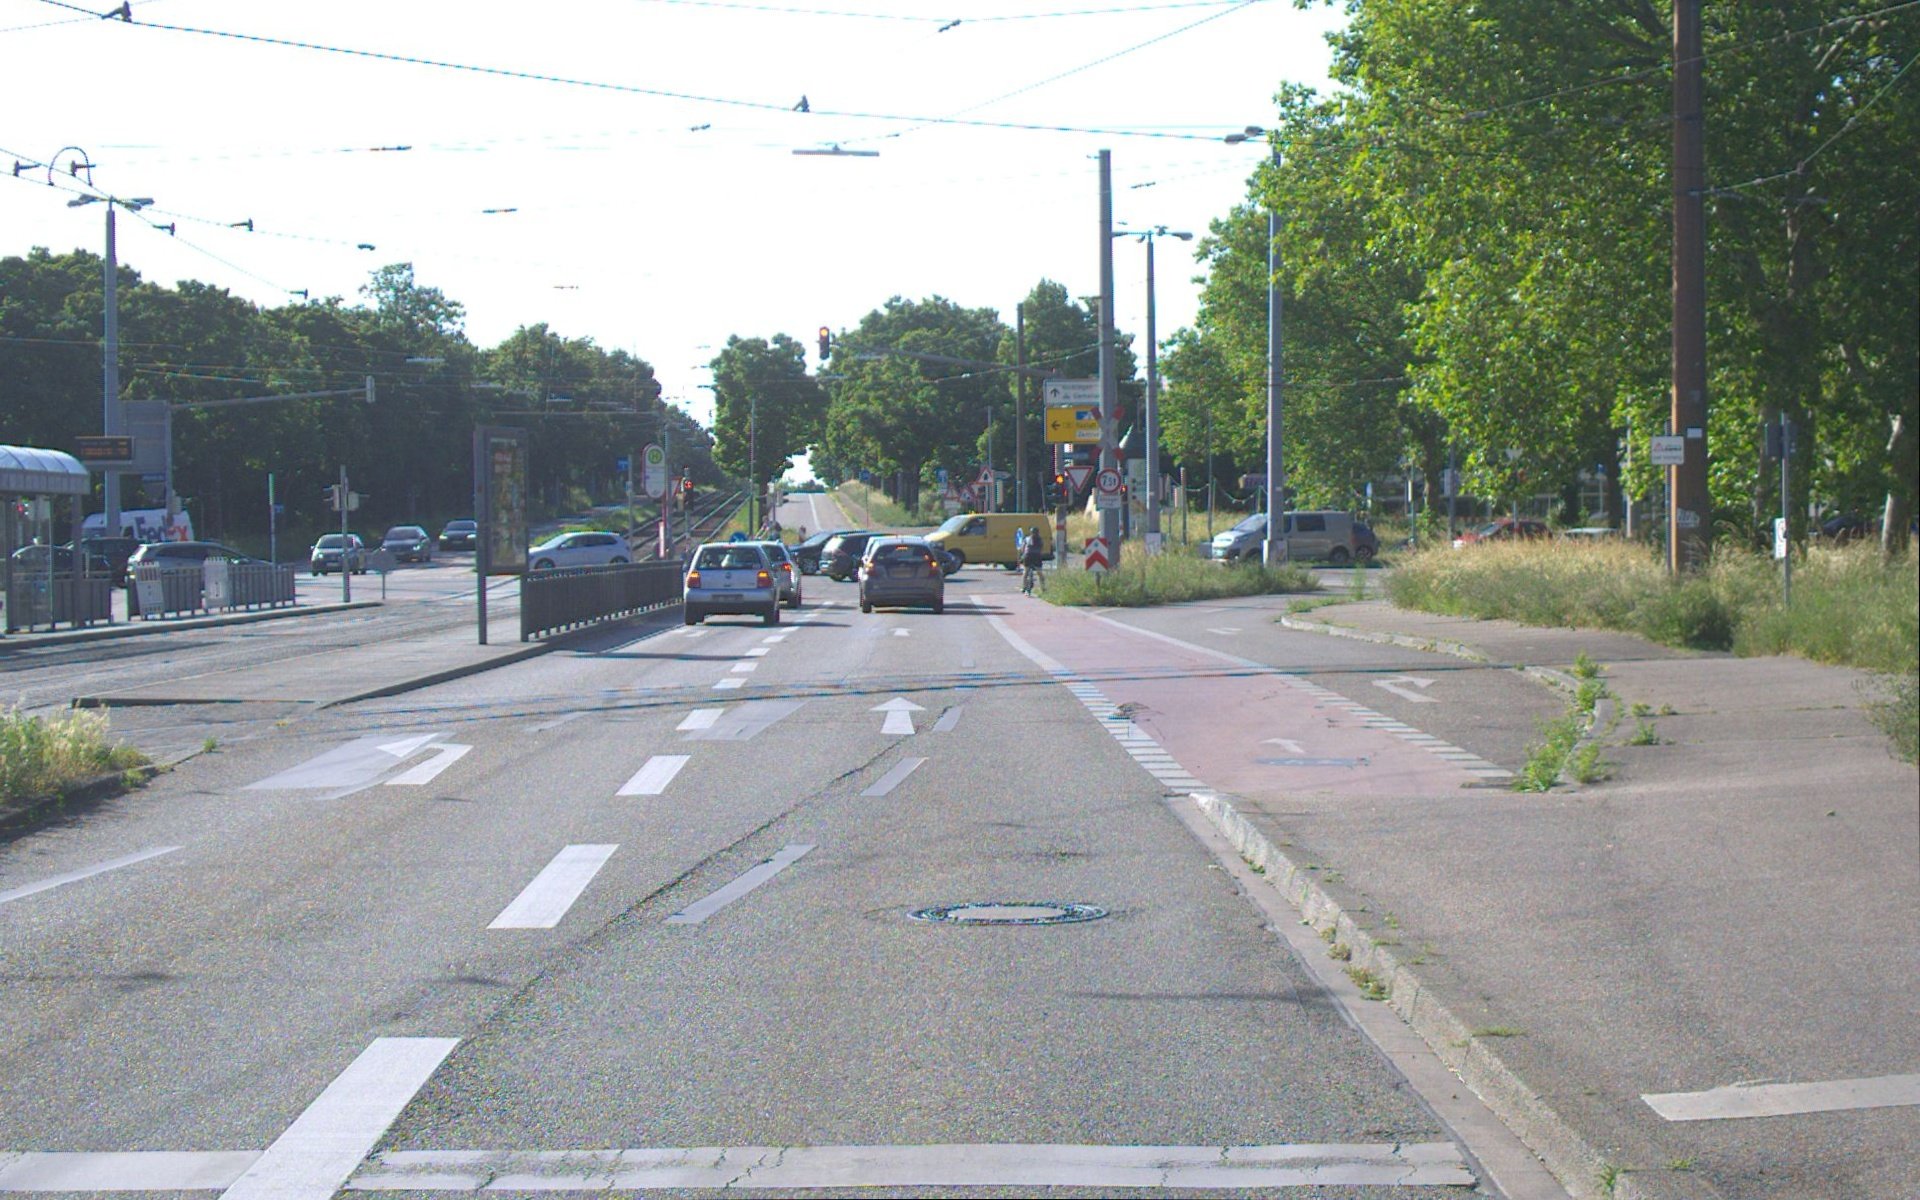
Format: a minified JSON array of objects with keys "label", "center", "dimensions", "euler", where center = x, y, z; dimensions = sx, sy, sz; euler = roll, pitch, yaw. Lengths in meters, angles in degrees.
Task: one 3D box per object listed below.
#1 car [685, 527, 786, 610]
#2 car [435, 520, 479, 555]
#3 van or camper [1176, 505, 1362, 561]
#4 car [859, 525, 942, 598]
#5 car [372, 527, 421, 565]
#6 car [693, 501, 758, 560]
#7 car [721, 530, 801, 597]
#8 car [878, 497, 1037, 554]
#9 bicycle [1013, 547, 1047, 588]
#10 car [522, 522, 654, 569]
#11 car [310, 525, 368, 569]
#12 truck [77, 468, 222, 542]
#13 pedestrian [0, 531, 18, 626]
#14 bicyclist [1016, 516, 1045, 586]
[{"label":"car","center":[-3.997,-0.575,61.653],"dimensions":[1.619,1.413,3.351],"euler":[-1,1,-1]},{"label":"car","center":[-23.825,-2.986,162.982],"dimensions":[1.993,1.599,4.756],"euler":[0,2,-8]},{"label":"van or camper","center":[10.401,-2.258,115.889],"dimensions":[5.966,1.822,2.000],"euler":[0,1,-6]},{"label":"car","center":[-1.246,-0.818,71.376],"dimensions":[1.668,1.457,3.586],"euler":[0,1,-1]},{"label":"car","center":[-23.585,-2.285,144.016],"dimensions":[1.832,1.543,4.286],"euler":[-1,1,-7]},{"label":"car","center":[-8.286,-2.438,121.982],"dimensions":[1.993,2.007,4.492],"euler":[1,1,0]},{"label":"car","center":[-4.425,-0.820,76.899],"dimensions":[1.619,1.452,4.085],"euler":[0,1,-1]},{"label":"car","center":[-0.078,-2.573,119.012],"dimensions":[5.154,1.873,2.000],"euler":[1,1,-27]},{"label":"bicycle","center":[1.733,-0.815,85.471],"dimensions":[0.722,0.985,2.876],"euler":[1,1,-1]},{"label":"car","center":[-12.238,-1.787,113.114],"dimensions":[3.986,1.468,1.752],"euler":[1,1,-22]},{"label":"car","center":[-22.468,-1.930,124.446],"dimensions":[1.832,1.543,4.001],"euler":[-1,1,-7]},{"label":"truck","center":[-29.150,-3.408,123.857],"dimensions":[1.995,2.556,6.818],"euler":[0,1,16]},{"label":"pedestrian","center":[-15.120,-0.317,52.705],"dimensions":[1.060,1.448,1.007],"euler":[-1,1,-1]},{"label":"bicyclist","center":[1.742,-1.219,85.385],"dimensions":[0.666,1.710,0.948],"euler":[1,0,-1]}]
